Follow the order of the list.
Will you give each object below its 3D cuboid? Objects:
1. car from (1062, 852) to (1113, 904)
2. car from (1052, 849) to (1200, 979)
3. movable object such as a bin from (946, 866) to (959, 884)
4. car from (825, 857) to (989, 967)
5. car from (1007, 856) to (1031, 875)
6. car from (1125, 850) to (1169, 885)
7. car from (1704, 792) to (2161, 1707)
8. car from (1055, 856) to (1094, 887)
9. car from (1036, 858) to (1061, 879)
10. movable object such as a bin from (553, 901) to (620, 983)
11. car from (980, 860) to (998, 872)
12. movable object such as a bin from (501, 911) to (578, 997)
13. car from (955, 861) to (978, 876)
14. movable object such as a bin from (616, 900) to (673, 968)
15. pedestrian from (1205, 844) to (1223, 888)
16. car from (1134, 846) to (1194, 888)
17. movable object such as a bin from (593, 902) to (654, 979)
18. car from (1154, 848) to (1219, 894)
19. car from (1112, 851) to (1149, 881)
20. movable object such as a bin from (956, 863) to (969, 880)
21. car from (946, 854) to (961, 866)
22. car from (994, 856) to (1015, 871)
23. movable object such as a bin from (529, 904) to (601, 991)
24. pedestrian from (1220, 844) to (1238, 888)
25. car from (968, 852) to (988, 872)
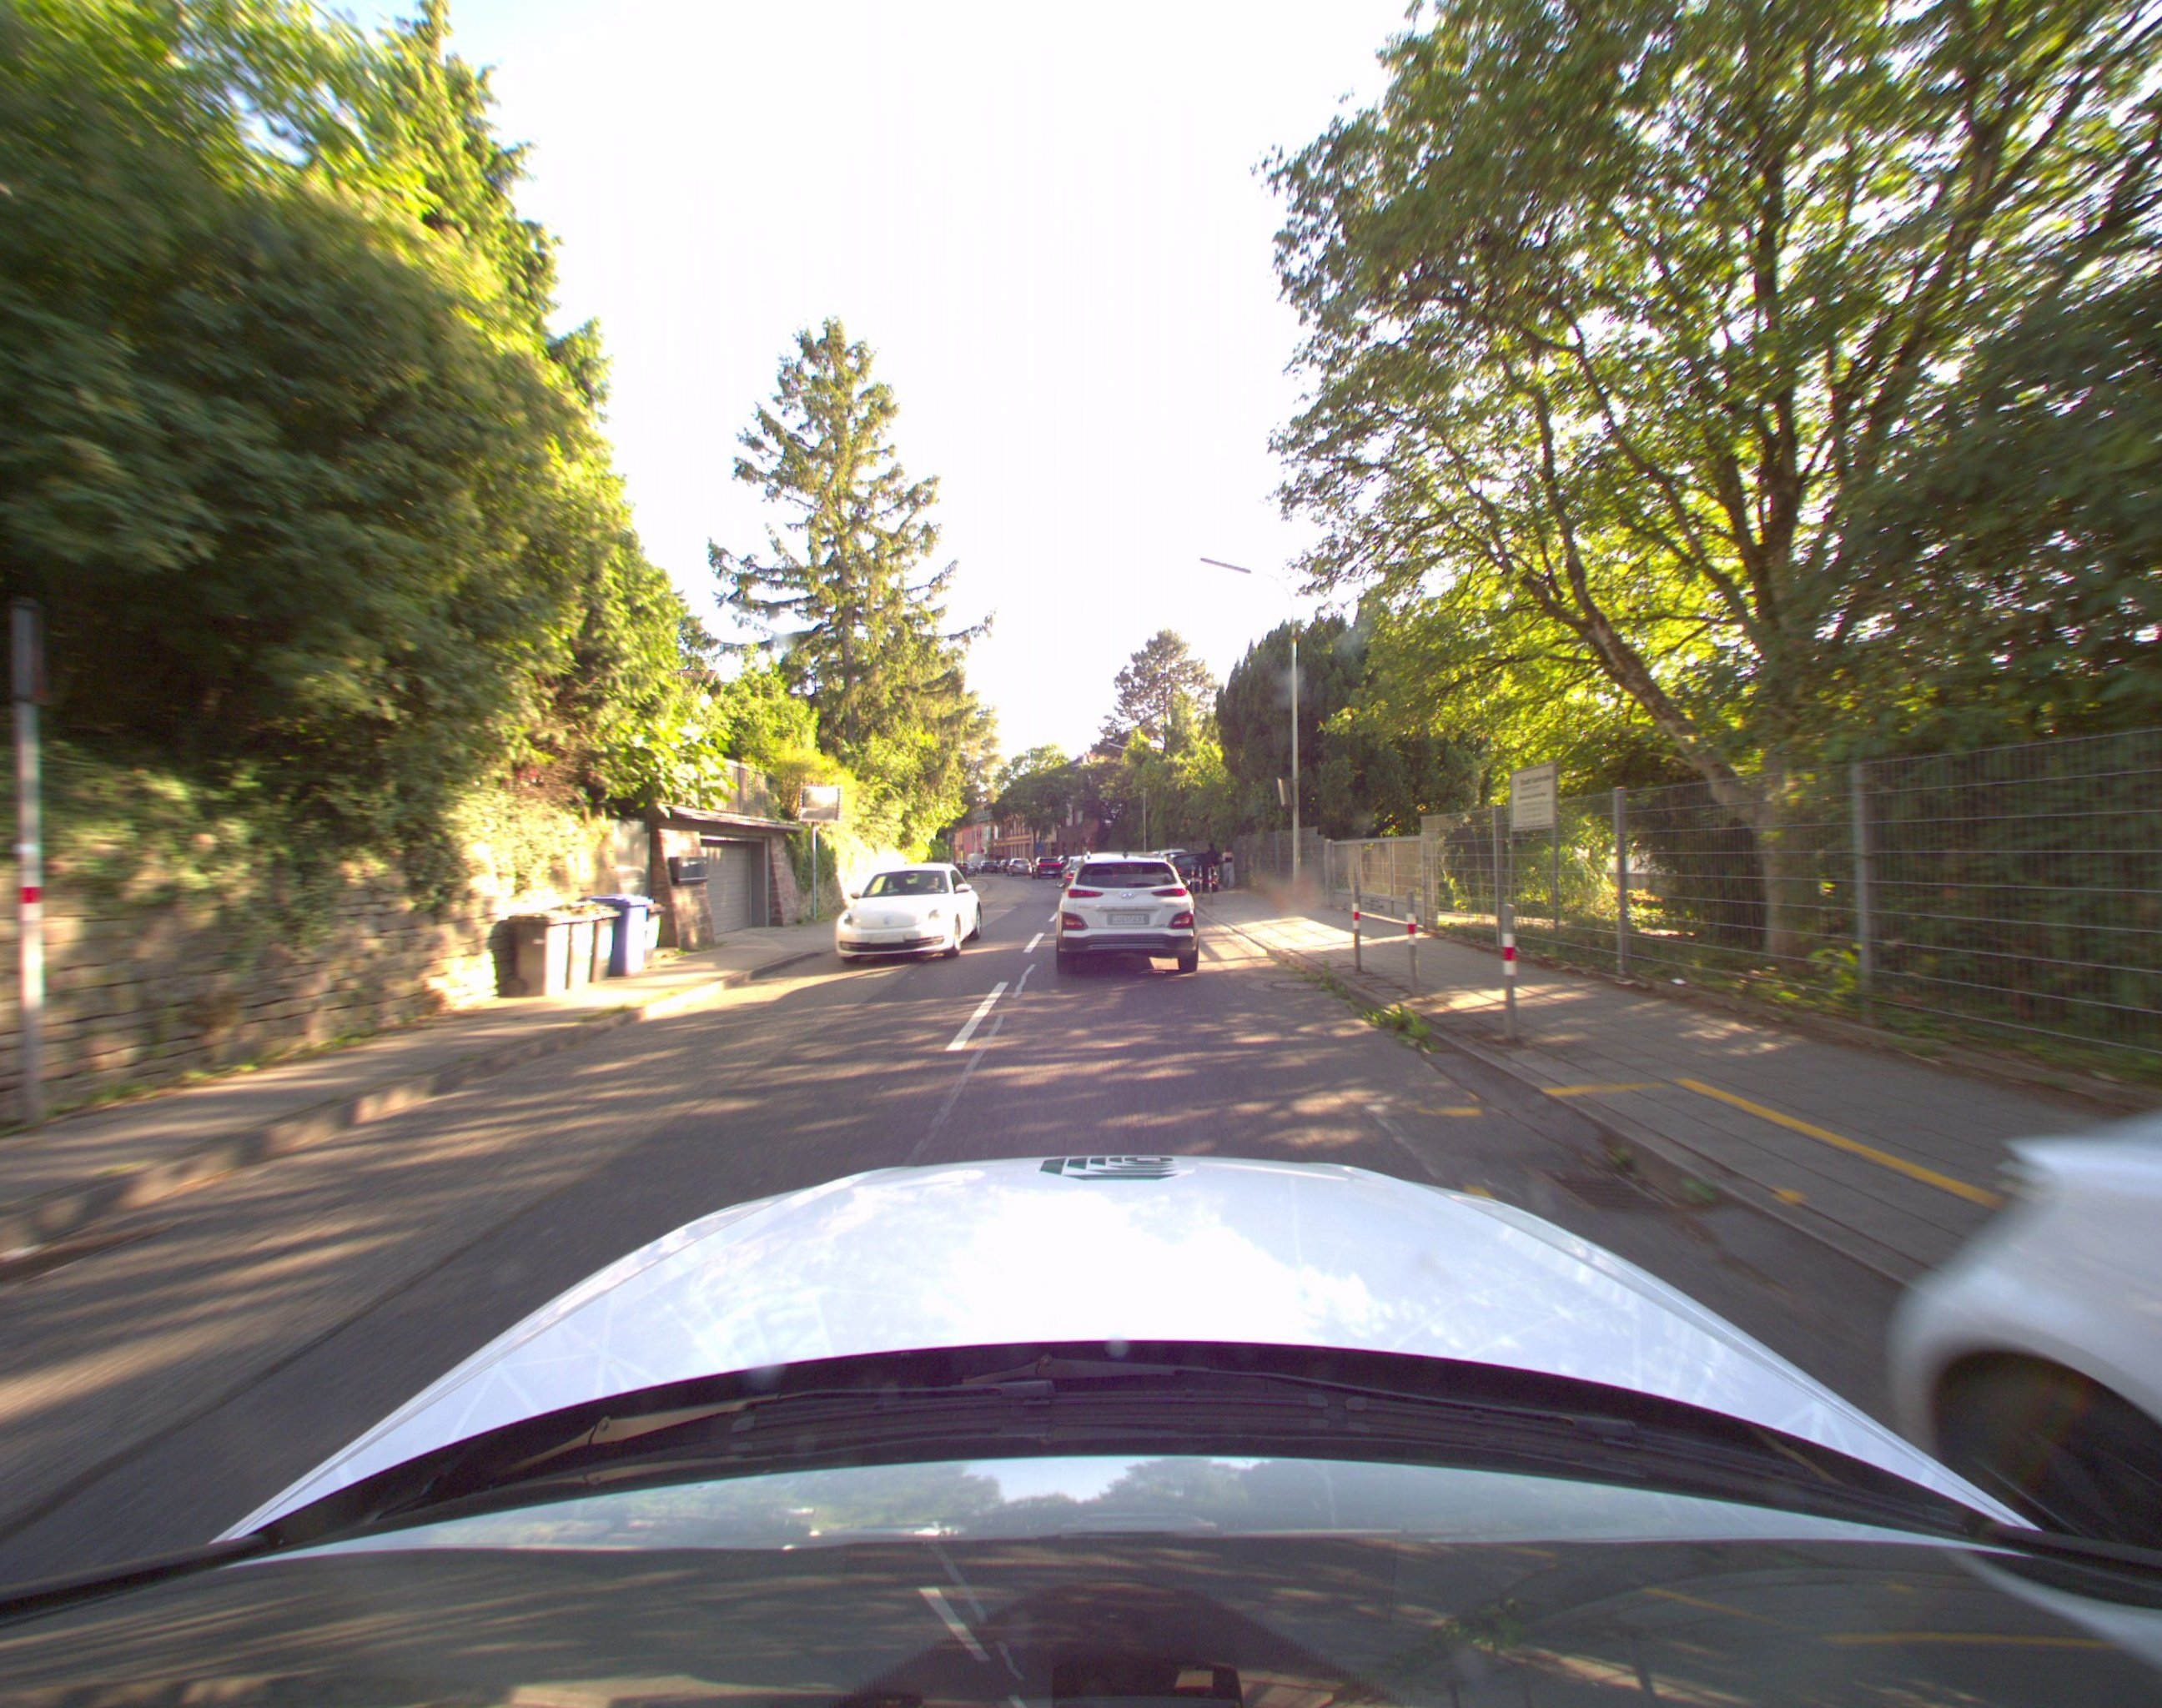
[{"bbox_3d":[0.176,0.716,26.320,1.507,1.533,3.546,-2,0,-1],"label":"car"},{"bbox_3d":[0.618,0.729,11.831,1.765,1.542,4.002,-1,0,2],"label":"car"},{"bbox_3d":[-7.433,1.194,47.135,0.493,1.011,1.113,0,-1,1],"label":"movable object such as a bin"},{"bbox_3d":[-2.774,0.857,13.893,1.734,1.474,4.002,-3,0,2],"label":"car"},{"bbox_3d":[-5.561,1.018,73.204,1.592,1.582,3.345,-2,0,-14],"label":"car"},{"bbox_3d":[3.226,0.669,40.328,1.590,1.519,3.928,-4,0,-3],"label":"car"},{"bbox_3d":[2.515,0.635,0.692,1.621,1.509,2.901,-4,1,-3],"label":"car"},{"bbox_3d":[-0.372,0.829,40.313,1.569,1.477,3.539,-1,0,-7],"label":"car"},{"bbox_3d":[-2.394,1.024,59.488,1.591,1.461,3.091,-2,0,-7],"label":"car"},{"bbox_3d":[-6.224,1.100,10.276,0.571,0.985,0.438,0,-1,-1],"label":"movable object such as a bin"},{"bbox_3d":[-10.278,1.344,90.744,1.529,1.260,3.344,-2,0,-14],"label":"car"},{"bbox_3d":[-6.193,1.133,9.328,0.582,0.937,0.438,0,-1,-1],"label":"movable object such as a bin"},{"bbox_3d":[-11.002,1.406,78.327,1.597,1.317,3.789,-1,0,-17],"label":"car"},{"bbox_3d":[-6.230,1.136,11.629,0.571,0.925,0.438,0,0,-1],"label":"movable object such as a bin"},{"bbox_3d":[4.969,0.445,30.429,0.501,1.606,0.491,-4,0,1],"label":"pedestrian"},{"bbox_3d":[3.453,0.560,34.605,1.592,1.565,3.990,-4,0,-7],"label":"car"},{"bbox_3d":[-6.096,1.142,10.869,0.488,0.964,0.583,0,0,-1],"label":"movable object such as a bin"},{"bbox_3d":[3.715,0.579,29.316,1.682,1.431,3.998,-4,0,-1],"label":"car"},{"bbox_3d":[2.752,0.631,45.673,1.590,1.489,3.598,-4,0,-3],"label":"car"},{"bbox_3d":[-8.290,1.237,57.170,0.789,1.189,0.772,0,-1,0],"label":"movable object such as a bin"},{"bbox_3d":[-21.588,1.050,138.005,1.723,1.936,3.973,-2,0,-20],"label":"car"},{"bbox_3d":[-9.029,1.104,95.347,1.759,1.616,3.978,0,0,-16],"label":"car"},{"bbox_3d":[-6.193,1.109,9.787,0.571,0.985,0.438,0,-1,-1],"label":"movable object such as a bin"},{"bbox_3d":[5.508,0.445,30.361,0.501,1.569,0.504,-4,0,1],"label":"pedestrian"},{"bbox_3d":[-14.367,1.146,113.593,1.934,2.583,4.368,-3,0,-17],"label":"car"}]
